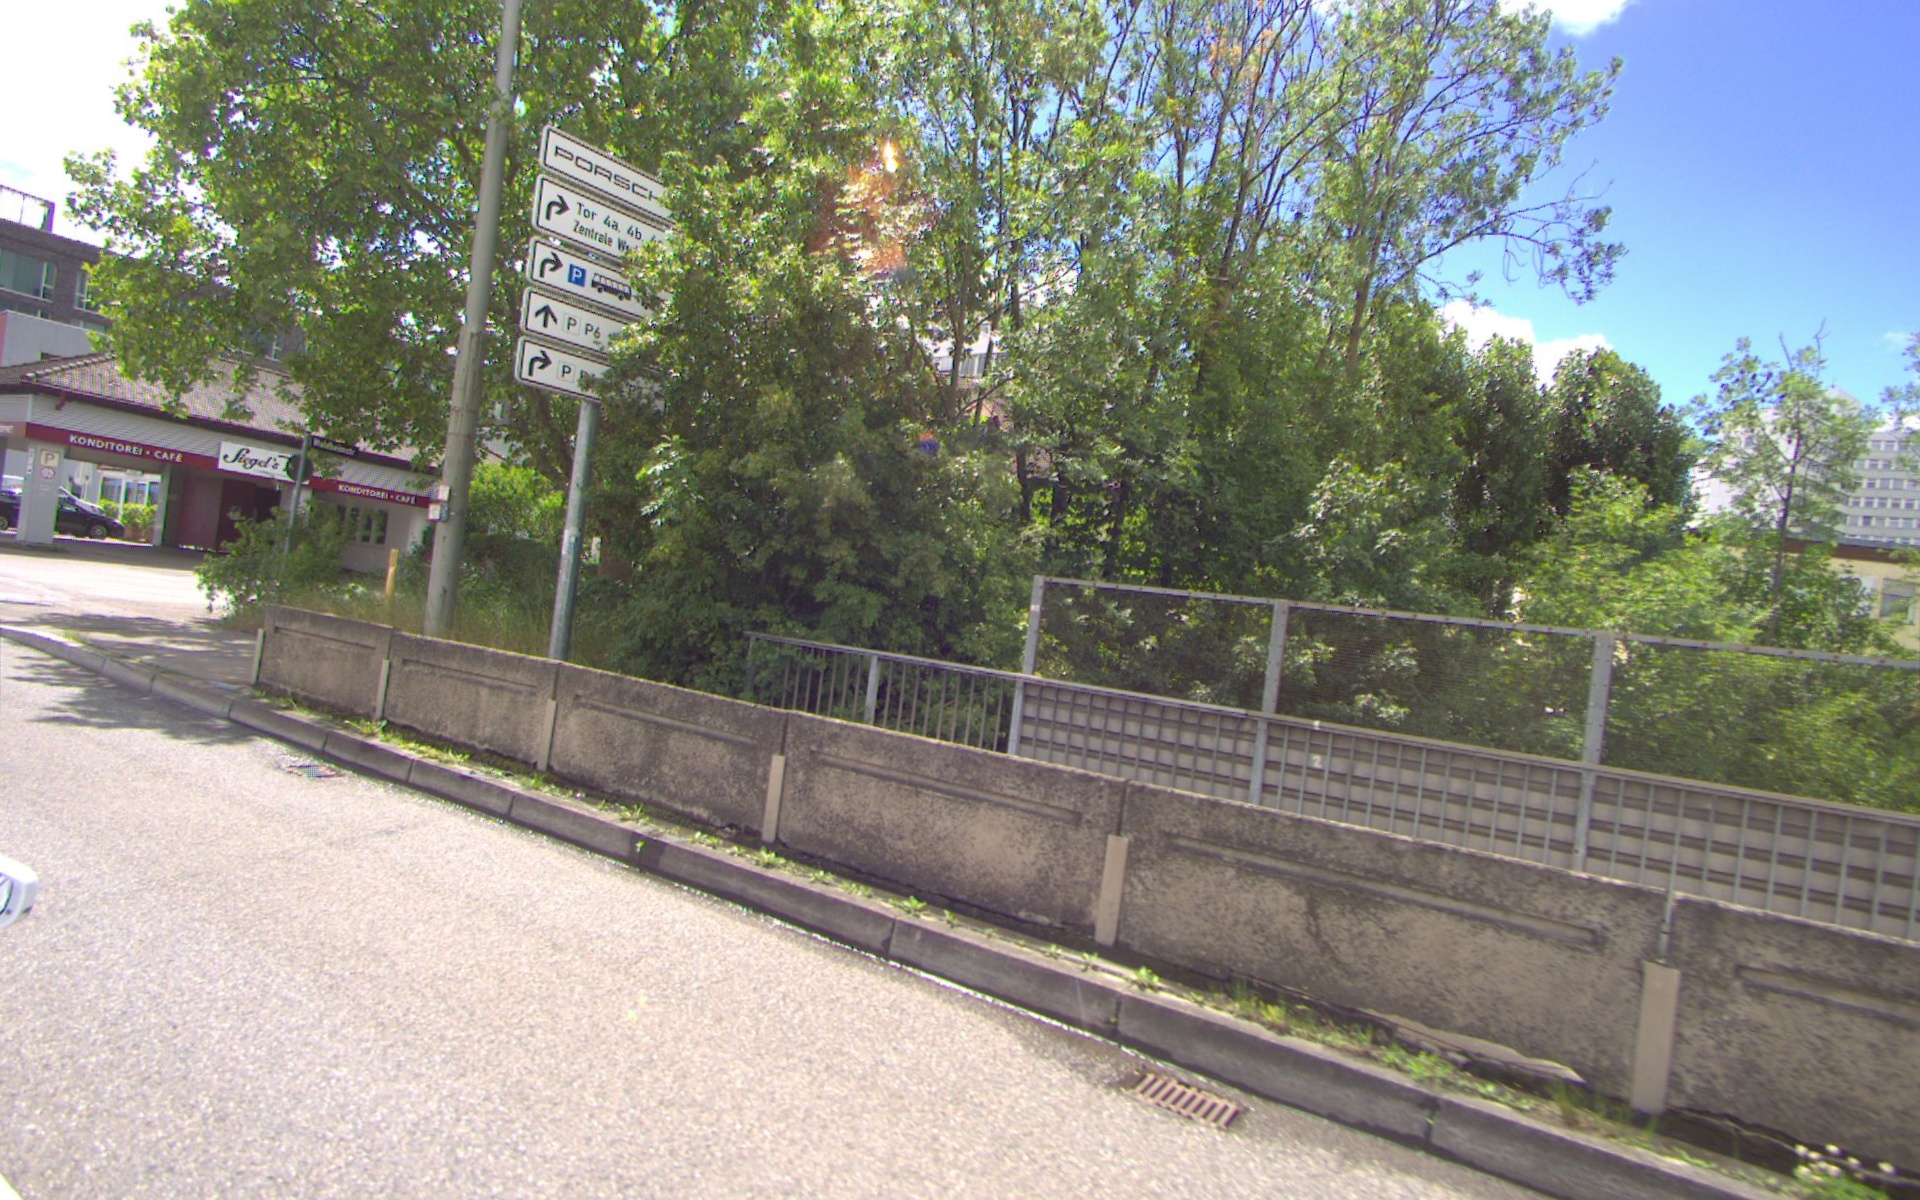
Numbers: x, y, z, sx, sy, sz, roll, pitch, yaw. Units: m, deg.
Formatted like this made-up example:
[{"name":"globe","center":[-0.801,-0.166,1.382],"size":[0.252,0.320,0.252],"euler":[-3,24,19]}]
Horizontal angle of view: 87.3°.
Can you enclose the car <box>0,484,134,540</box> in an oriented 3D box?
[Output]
[{"name":"car","center":[-32.140,-3.125,35.435],"size":[1.816,1.532,4.302],"euler":[6,0,32]}]

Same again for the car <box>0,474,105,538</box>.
[{"name":"car","center":[-34.598,-3.548,37.102],"size":[1.996,1.961,4.232],"euler":[6,1,33]}]

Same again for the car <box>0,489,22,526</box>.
[{"name":"car","center":[-41.341,-3.978,41.336],"size":[1.691,1.460,3.759],"euler":[6,2,33]}]

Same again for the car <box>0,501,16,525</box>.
[{"name":"car","center":[-65.729,-6.071,66.947],"size":[1.449,1.448,3.936],"euler":[7,-2,32]}]
